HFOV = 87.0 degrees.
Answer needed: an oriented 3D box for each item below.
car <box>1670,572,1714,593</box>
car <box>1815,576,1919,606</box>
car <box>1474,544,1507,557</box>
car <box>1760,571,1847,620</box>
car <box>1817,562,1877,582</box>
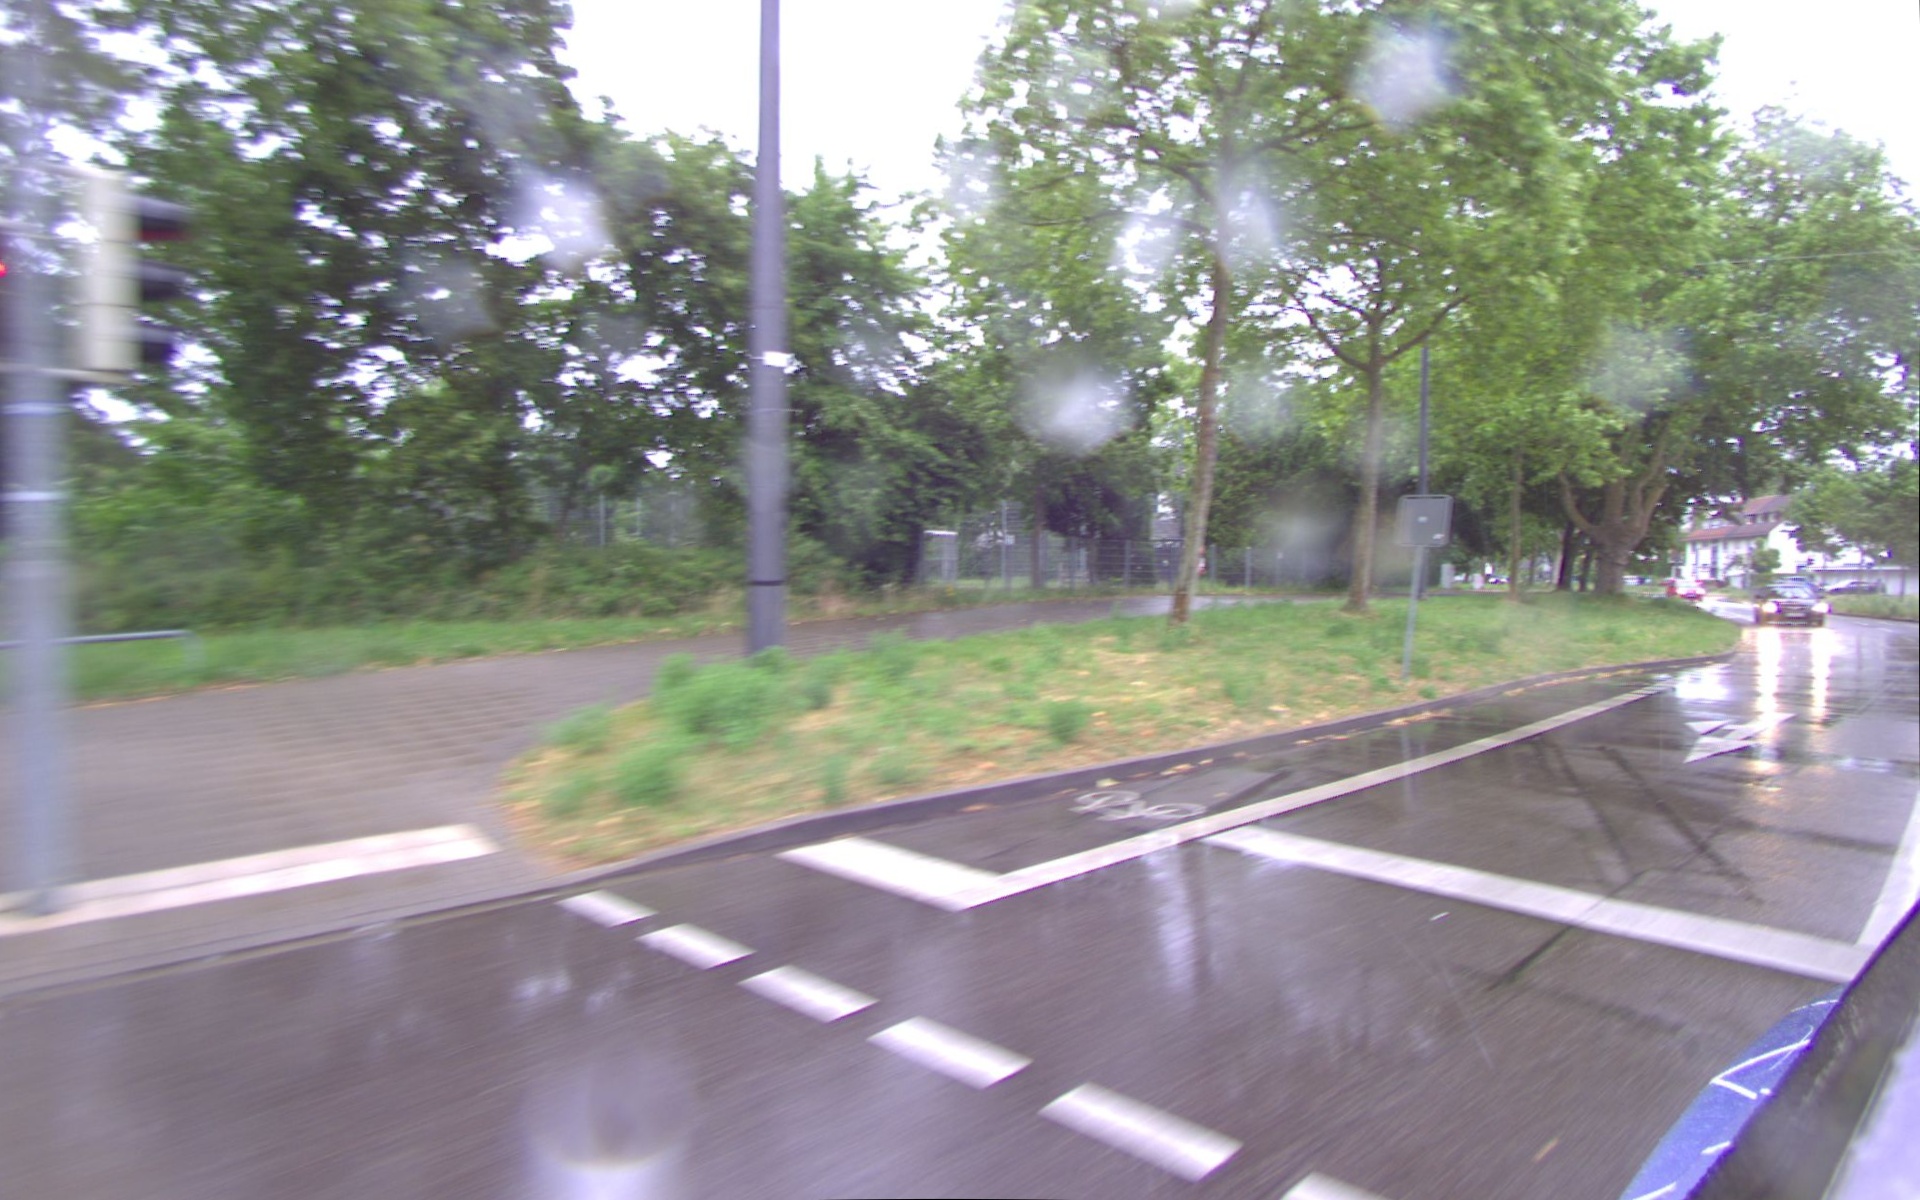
[{"bbox_3d":[49.584,-1.212,68.593,1.771,1.398,3.831,0,1,26],"label":"car"},{"bbox_3d":[44.198,-0.445,49.066,4.020,1.438,1.654,0,1,36],"label":"car"},{"bbox_3d":[75.669,-7.064,144.478,3.953,1.849,1.986,0,1,22],"label":"car"},{"bbox_3d":[29.948,-0.193,36.032,1.859,1.638,3.766,0,1,32],"label":"car"},{"bbox_3d":[87.381,-2.745,99.735,3.937,1.824,1.886,0,0,12],"label":"car"}]
